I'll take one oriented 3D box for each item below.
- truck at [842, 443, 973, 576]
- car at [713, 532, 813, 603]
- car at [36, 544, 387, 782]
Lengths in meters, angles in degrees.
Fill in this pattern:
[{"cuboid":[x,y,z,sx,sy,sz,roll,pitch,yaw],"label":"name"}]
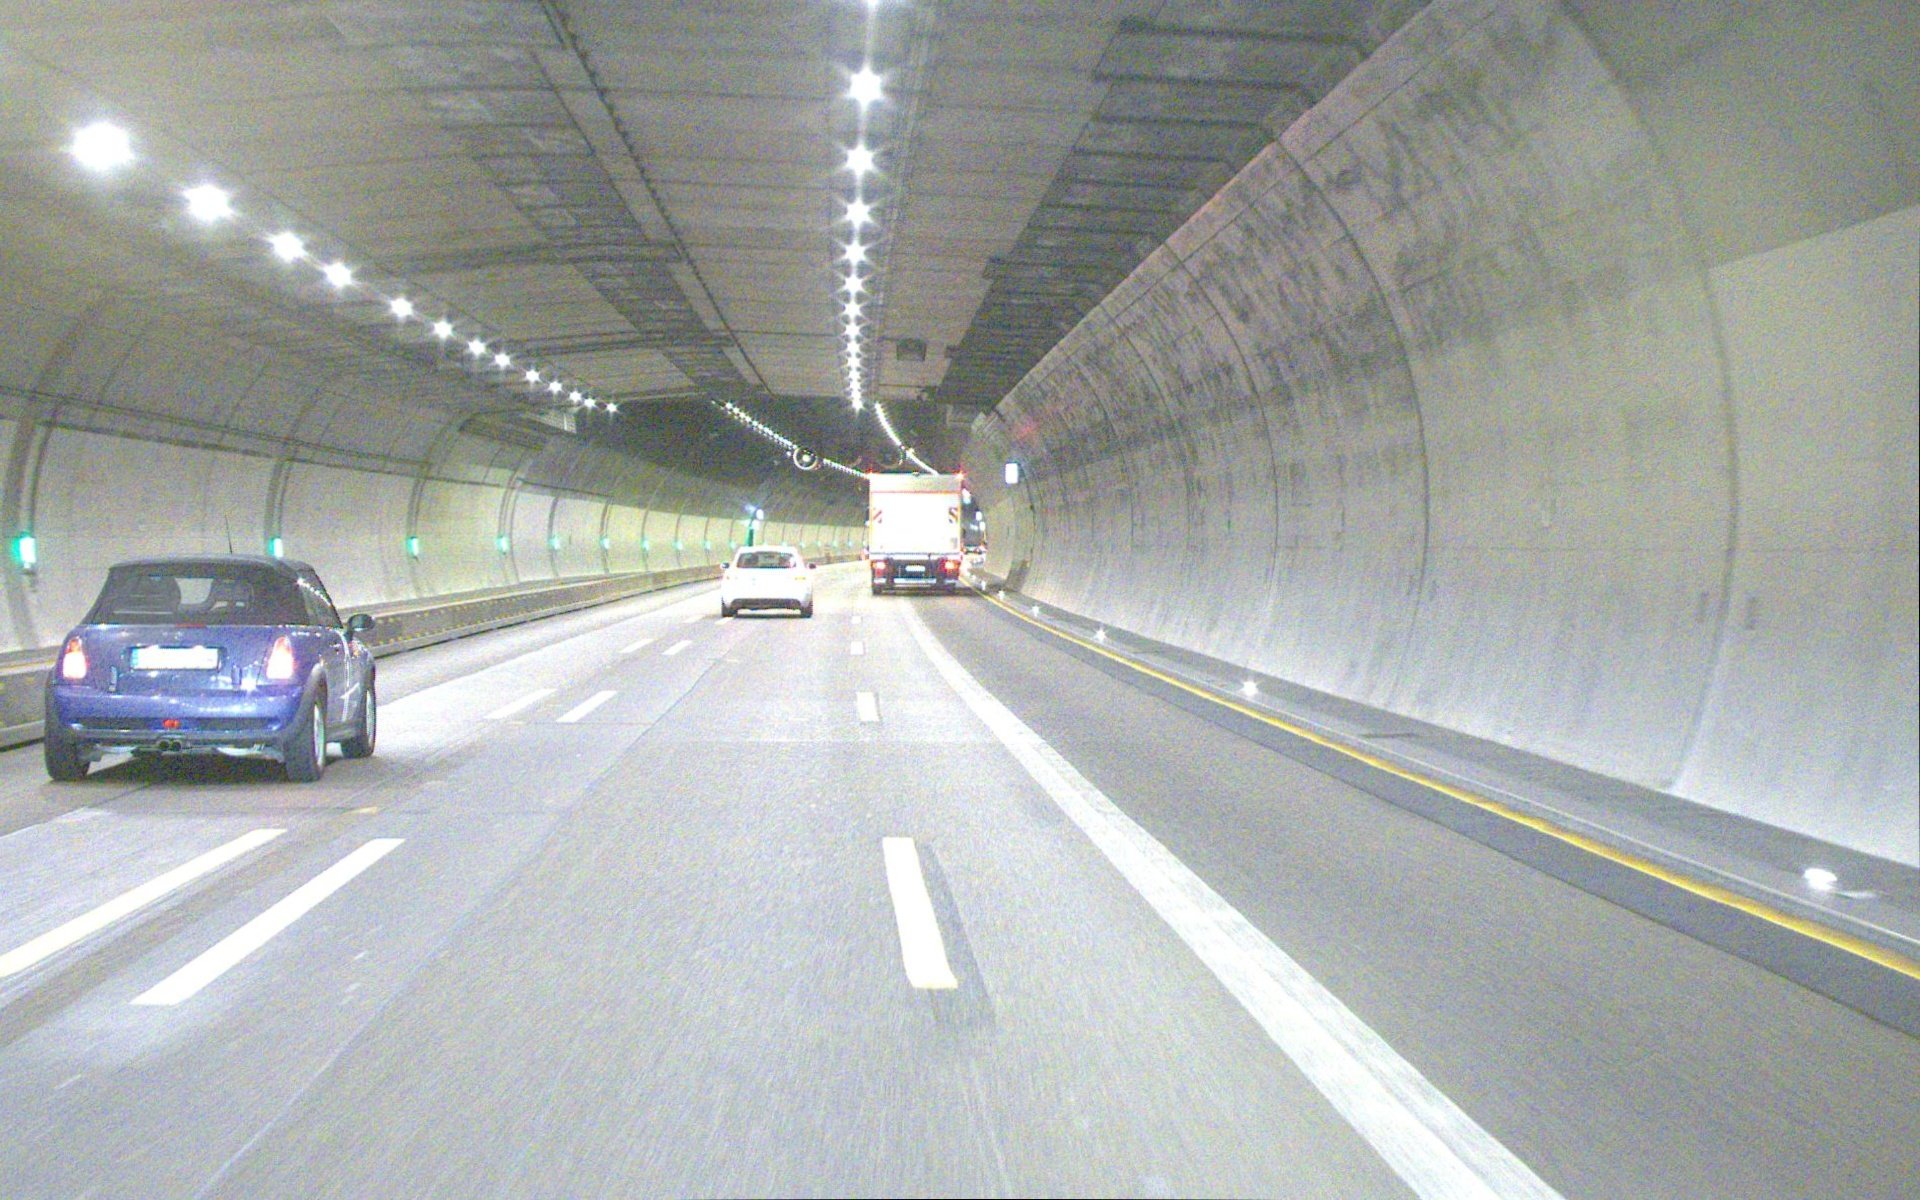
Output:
[{"cuboid":[-1.474,-2.614,99.964,3.592,3.638,10.723,0,1,0],"label":"truck"},{"cuboid":[-4.110,-0.695,71.207,1.993,1.408,4.743,0,1,-4],"label":"car"},{"cuboid":[-4.841,0.349,22.699,1.689,1.412,3.924,0,1,-4],"label":"car"}]
